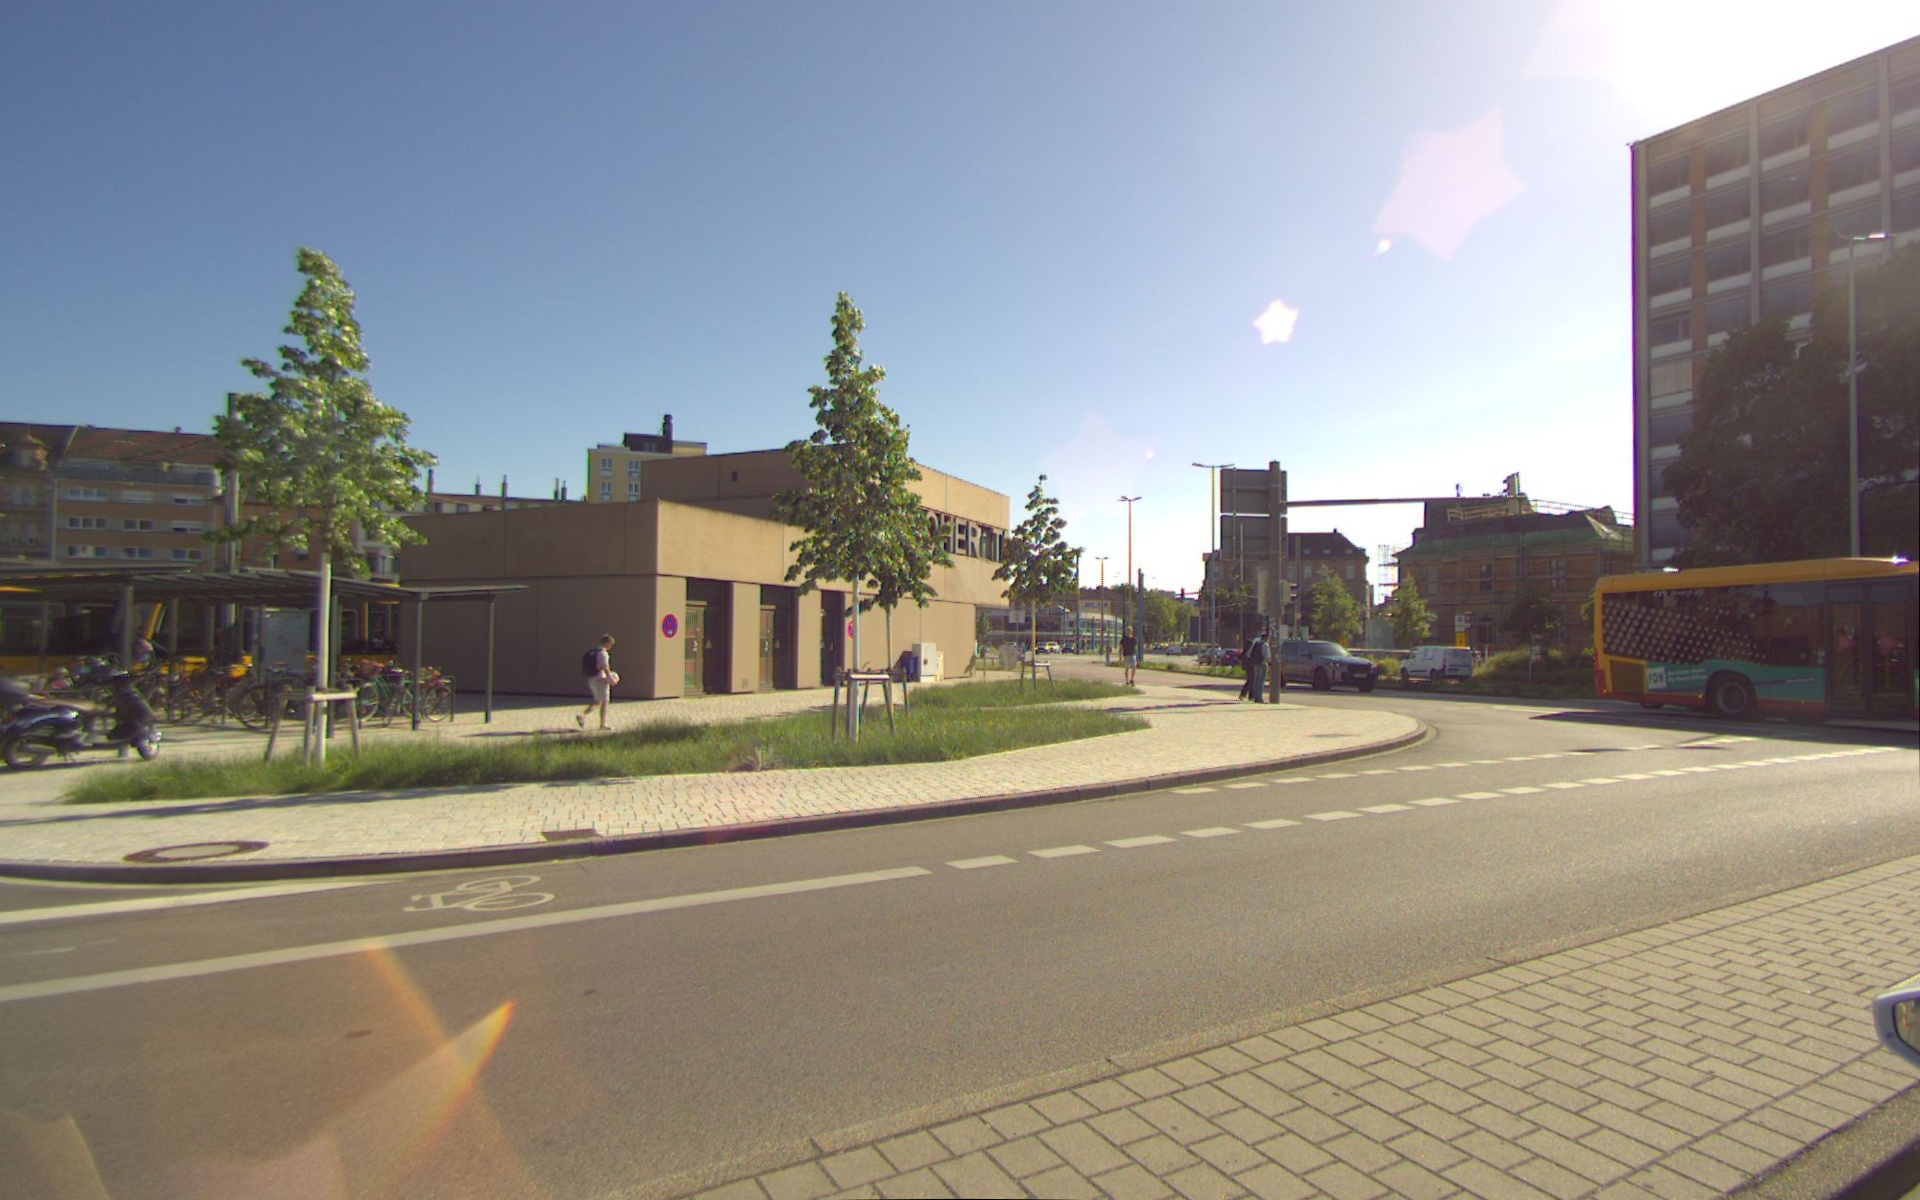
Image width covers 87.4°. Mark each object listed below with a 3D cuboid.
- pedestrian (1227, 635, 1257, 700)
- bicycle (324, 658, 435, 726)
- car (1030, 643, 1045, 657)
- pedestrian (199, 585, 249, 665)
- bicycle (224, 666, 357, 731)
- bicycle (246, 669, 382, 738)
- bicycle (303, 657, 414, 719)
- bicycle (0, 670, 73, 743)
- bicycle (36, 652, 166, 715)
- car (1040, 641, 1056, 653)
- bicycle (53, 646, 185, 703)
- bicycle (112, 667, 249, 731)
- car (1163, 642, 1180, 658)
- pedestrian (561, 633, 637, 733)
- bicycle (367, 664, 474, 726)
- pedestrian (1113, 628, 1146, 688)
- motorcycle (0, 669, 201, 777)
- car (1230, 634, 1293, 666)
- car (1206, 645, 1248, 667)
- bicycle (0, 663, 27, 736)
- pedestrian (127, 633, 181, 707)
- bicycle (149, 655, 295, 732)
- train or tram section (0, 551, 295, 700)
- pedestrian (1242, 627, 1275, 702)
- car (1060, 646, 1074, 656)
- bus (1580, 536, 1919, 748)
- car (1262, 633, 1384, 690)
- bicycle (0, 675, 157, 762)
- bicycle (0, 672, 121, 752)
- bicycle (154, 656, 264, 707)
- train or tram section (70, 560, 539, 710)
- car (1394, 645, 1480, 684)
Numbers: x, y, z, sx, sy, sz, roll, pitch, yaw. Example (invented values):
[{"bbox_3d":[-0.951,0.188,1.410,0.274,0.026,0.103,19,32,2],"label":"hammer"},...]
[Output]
[{"bbox_3d":[7.607,1.816,27.084,0.594,1.719,0.634,1,-2,-7],"label":"pedestrian"},{"bbox_3d":[-10.751,1.679,18.687,0.616,1.161,1.831,0,-2,18],"label":"bicycle"},{"bbox_3d":[10.652,6.903,138.346,1.960,1.814,4.002,0,-2,3],"label":"car"},{"bbox_3d":[-17.569,0.609,23.987,0.738,1.880,0.709,1,-2,-19],"label":"pedestrian"},{"bbox_3d":[-11.624,1.683,17.503,0.492,1.010,1.887,0,-2,31],"label":"bicycle"},{"bbox_3d":[-10.681,1.682,16.687,0.617,1.021,1.828,0,-2,27],"label":"bicycle"},{"bbox_3d":[-11.755,1.691,19.692,0.617,1.107,1.829,0,-2,25],"label":"bicycle"},{"bbox_3d":[-14.114,1.552,14.516,0.617,1.021,1.829,0,-2,25],"label":"bicycle"},{"bbox_3d":[-16.920,1.613,19.832,0.617,1.146,1.828,0,-2,27],"label":"bicycle"},{"bbox_3d":[12.804,6.800,145.995,1.865,1.728,4.003,0,-2,12],"label":"car"},{"bbox_3d":[-16.001,1.395,19.170,0.617,1.021,1.828,0,-2,27],"label":"bicycle"},{"bbox_3d":[-13.874,1.745,17.941,0.617,1.021,1.828,0,-2,27],"label":"bicycle"},{"bbox_3d":[28.954,6.853,137.603,2.024,2.040,4.002,2,0,8],"label":"car"},{"bbox_3d":[-6.540,1.471,18.197,0.827,1.727,1.019,-1,-2,43],"label":"pedestrian"},{"bbox_3d":[-9.832,1.713,18.387,0.616,1.021,1.832,0,-2,16],"label":"bicycle"},{"bbox_3d":[5.427,1.847,32.158,0.826,1.869,0.866,1,-2,-7],"label":"pedestrian"},{"bbox_3d":[-10.929,1.481,12.479,0.599,1.173,2.360,0,-2,25],"label":"motorcycle"},{"bbox_3d":[25.411,4.159,84.934,2.955,2.580,6.956,1,-2,-3],"label":"car"},{"bbox_3d":[20.046,4.214,75.506,1.962,1.538,3.818,1,-2,-4],"label":"car"},{"bbox_3d":[-15.281,1.519,15.015,0.617,1.094,1.829,0,-2,25],"label":"bicycle"},{"bbox_3d":[-18.971,1.631,23.659,0.593,1.681,0.772,0,-2,23],"label":"pedestrian"},{"bbox_3d":[-12.898,1.602,17.632,0.496,1.225,2.051,0,-2,26],"label":"bicycle"},{"bbox_3d":[-24.322,0.666,25.914,2.779,3.648,12.320,0,-2,24],"label":"train or tram section"},{"bbox_3d":[7.610,1.631,25.643,0.594,1.880,0.681,1,-2,-7],"label":"pedestrian"},{"bbox_3d":[15.251,7.232,143.313,1.960,1.407,4.003,0,-3,5],"label":"car"},{"bbox_3d":[17.728,0.762,18.200,3.195,3.617,12.431,1,-2,-14],"label":"bus"},{"bbox_3d":[12.855,2.136,35.955,1.970,1.885,4.733,1,-2,-11],"label":"car"},{"bbox_3d":[-12.047,1.561,13.524,0.617,1.021,1.829,0,-2,25],"label":"bicycle"},{"bbox_3d":[-13.130,1.560,14.076,0.617,1.021,2.026,0,-2,25],"label":"bicycle"},{"bbox_3d":[-16.267,1.737,21.807,0.617,1.021,1.829,0,-2,25],"label":"bicycle"},{"bbox_3d":[-18.786,1.067,30.586,2.702,3.648,12.318,0,-2,25],"label":"train or tram section"},{"bbox_3d":[27.088,3.614,57.206,2.034,2.040,5.010,1,-2,-8],"label":"car"}]
